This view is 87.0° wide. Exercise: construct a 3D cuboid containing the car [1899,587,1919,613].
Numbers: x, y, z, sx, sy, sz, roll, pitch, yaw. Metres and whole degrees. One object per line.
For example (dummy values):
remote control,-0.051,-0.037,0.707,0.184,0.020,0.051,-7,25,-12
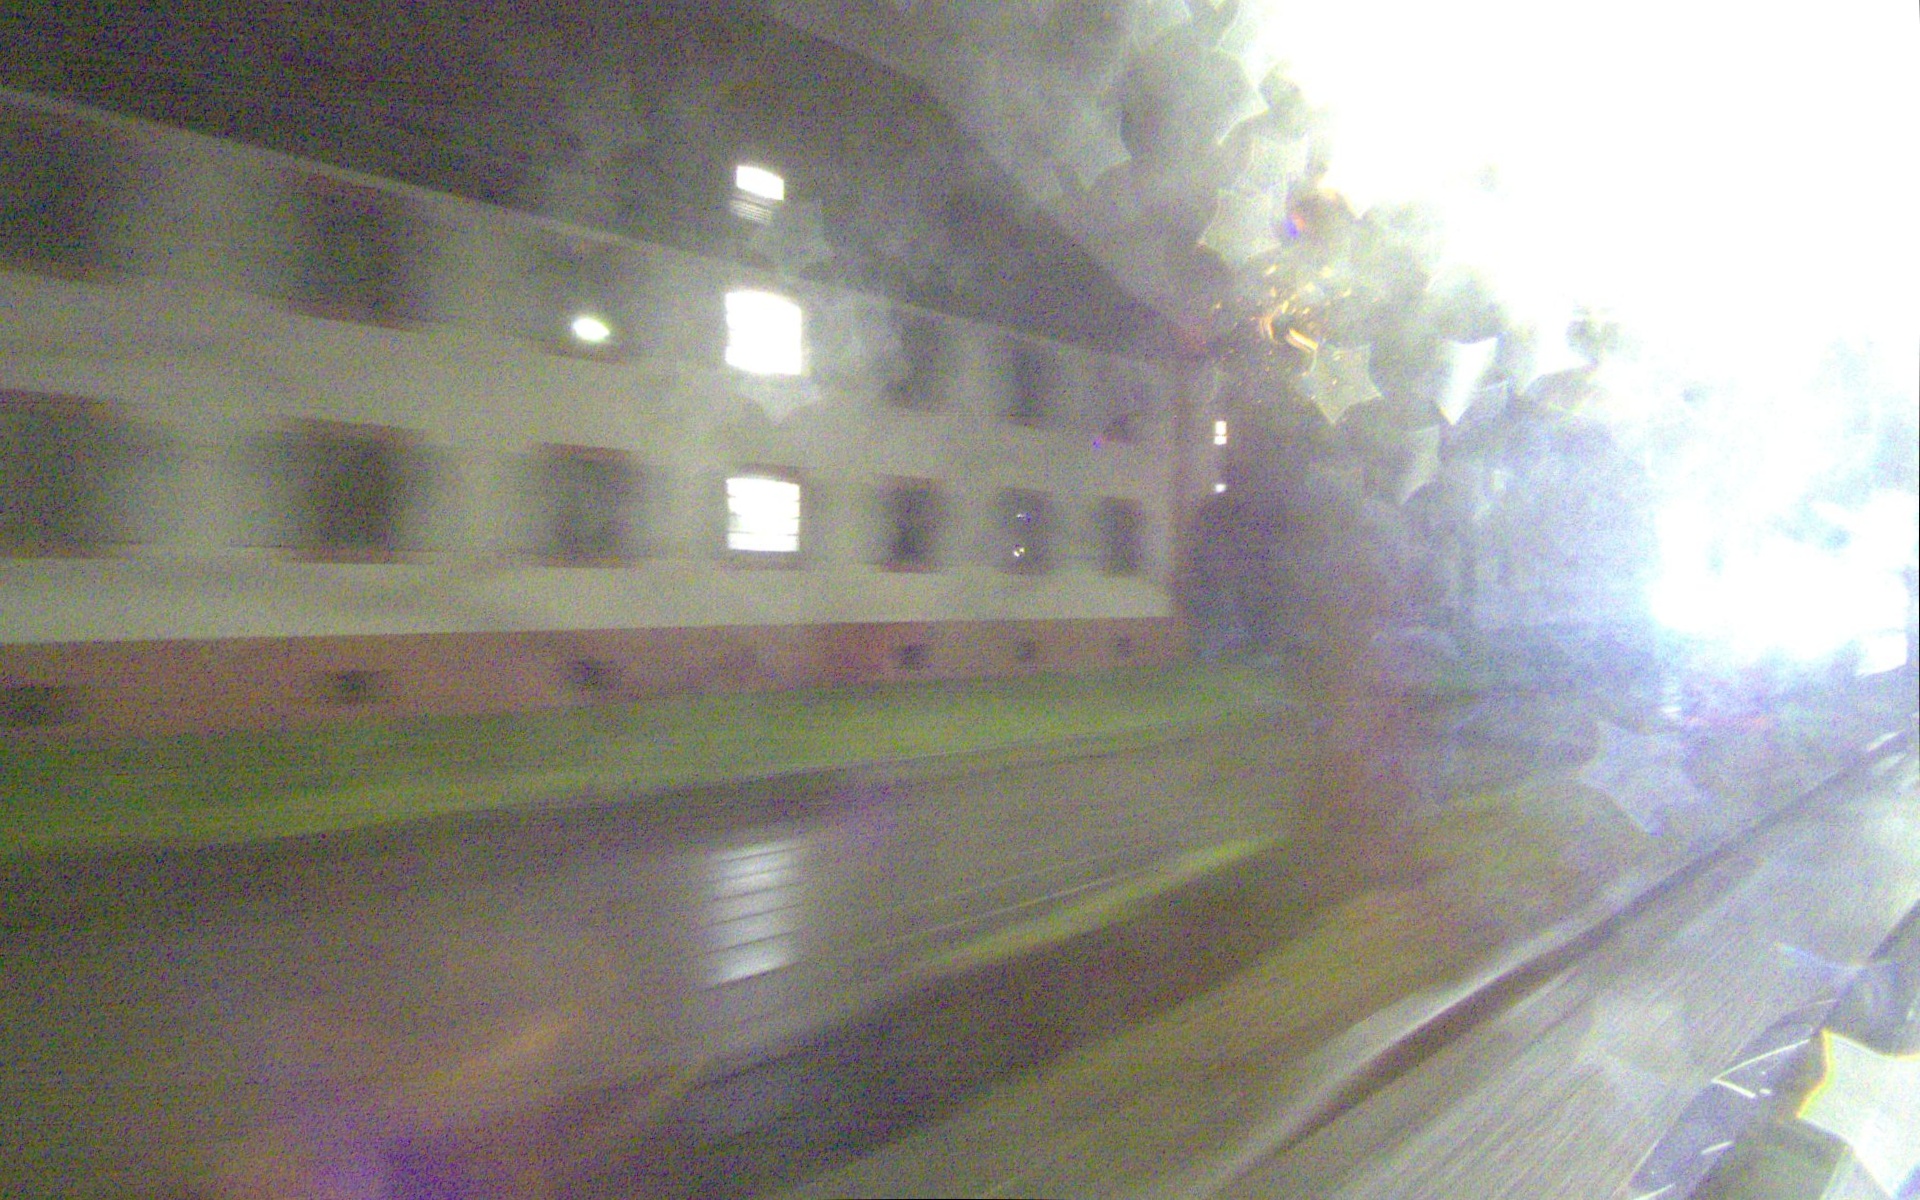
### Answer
car,67.657,0.009,69.798,1.961,1.807,4.003,0,1,-2
